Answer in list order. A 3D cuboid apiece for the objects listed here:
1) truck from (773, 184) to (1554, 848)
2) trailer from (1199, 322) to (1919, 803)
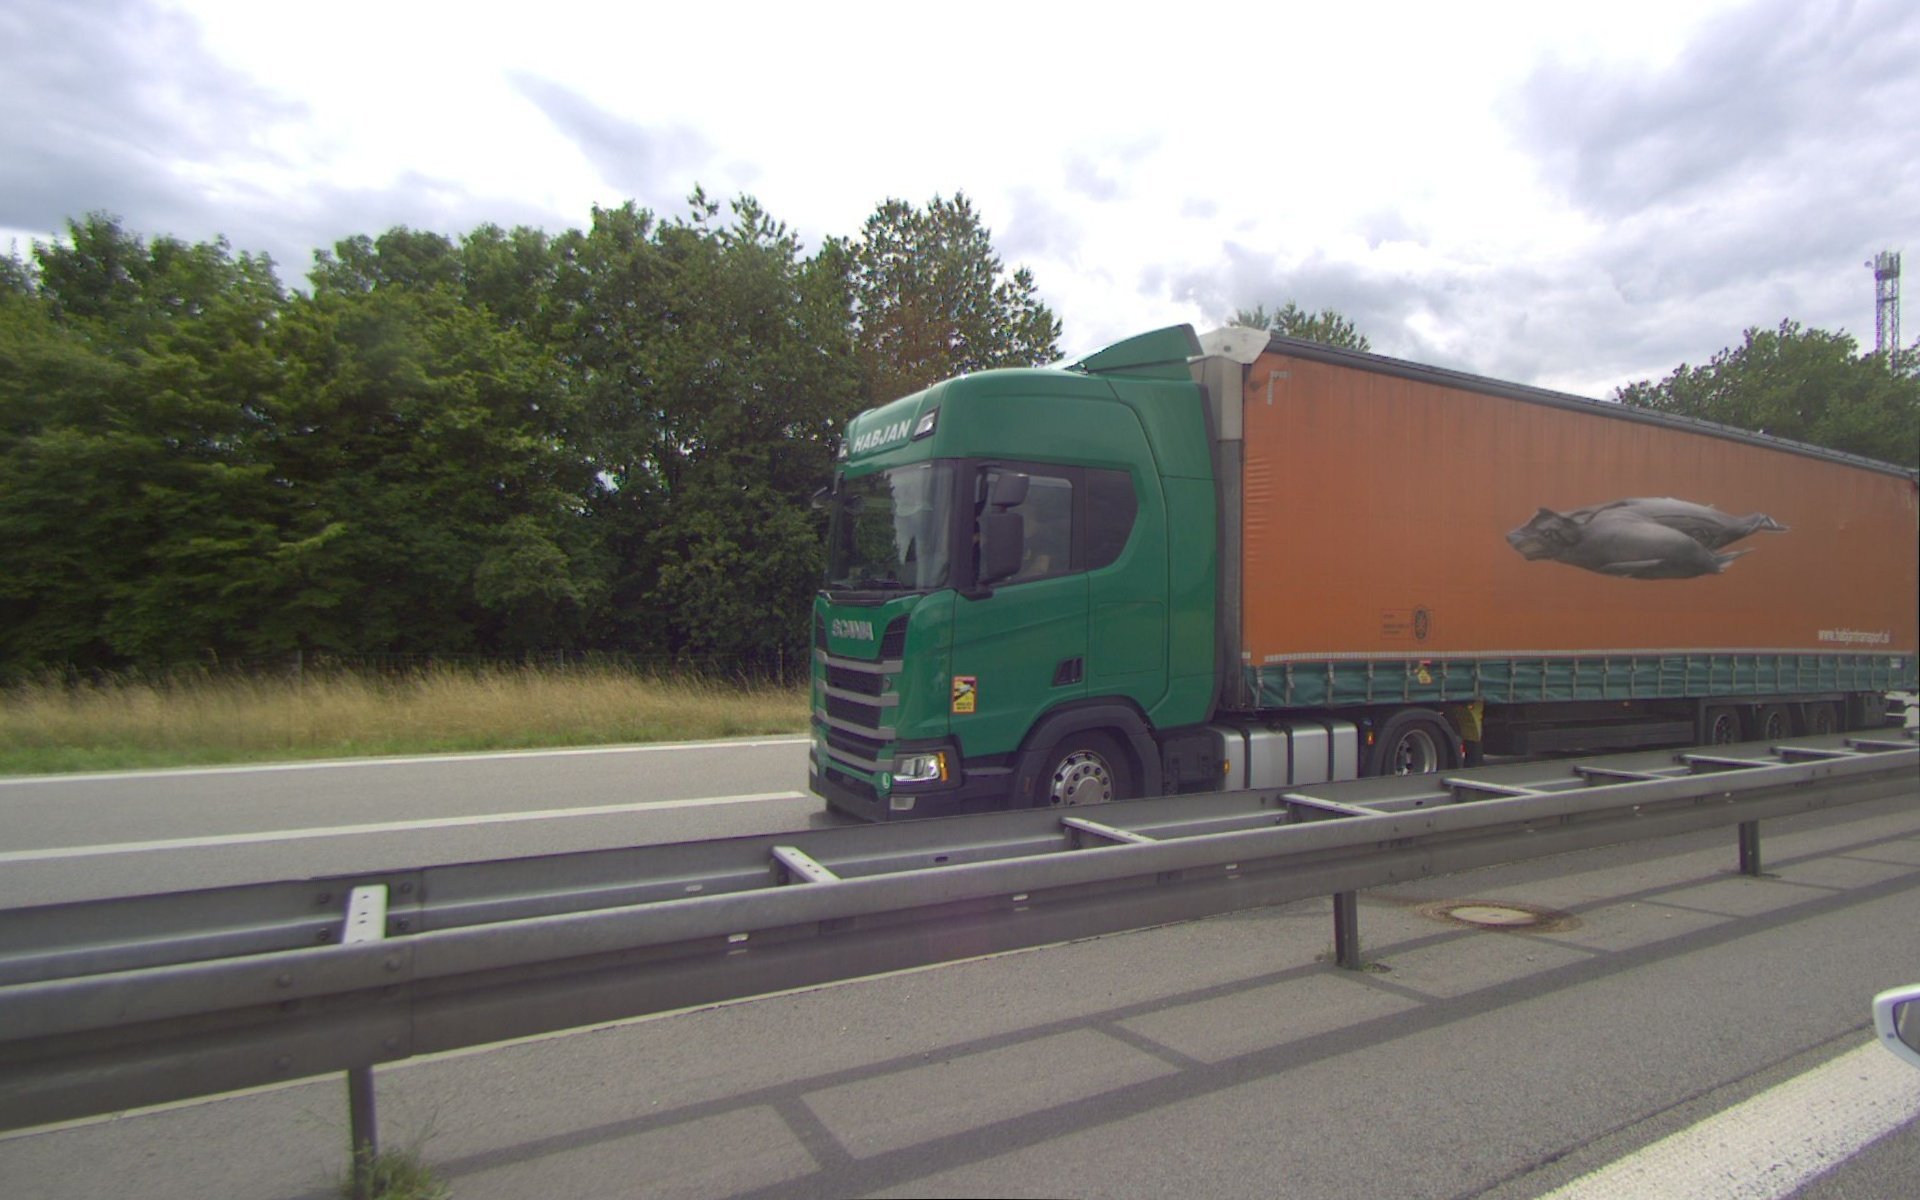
[{"bbox_3d":[2.010,-0.439,9.456,6.698,4.269,3.109,2,0,-29],"label":"truck"},{"bbox_3d":[8.583,-0.146,13.154,11.504,4.269,3.136,2,0,-30],"label":"trailer"}]
